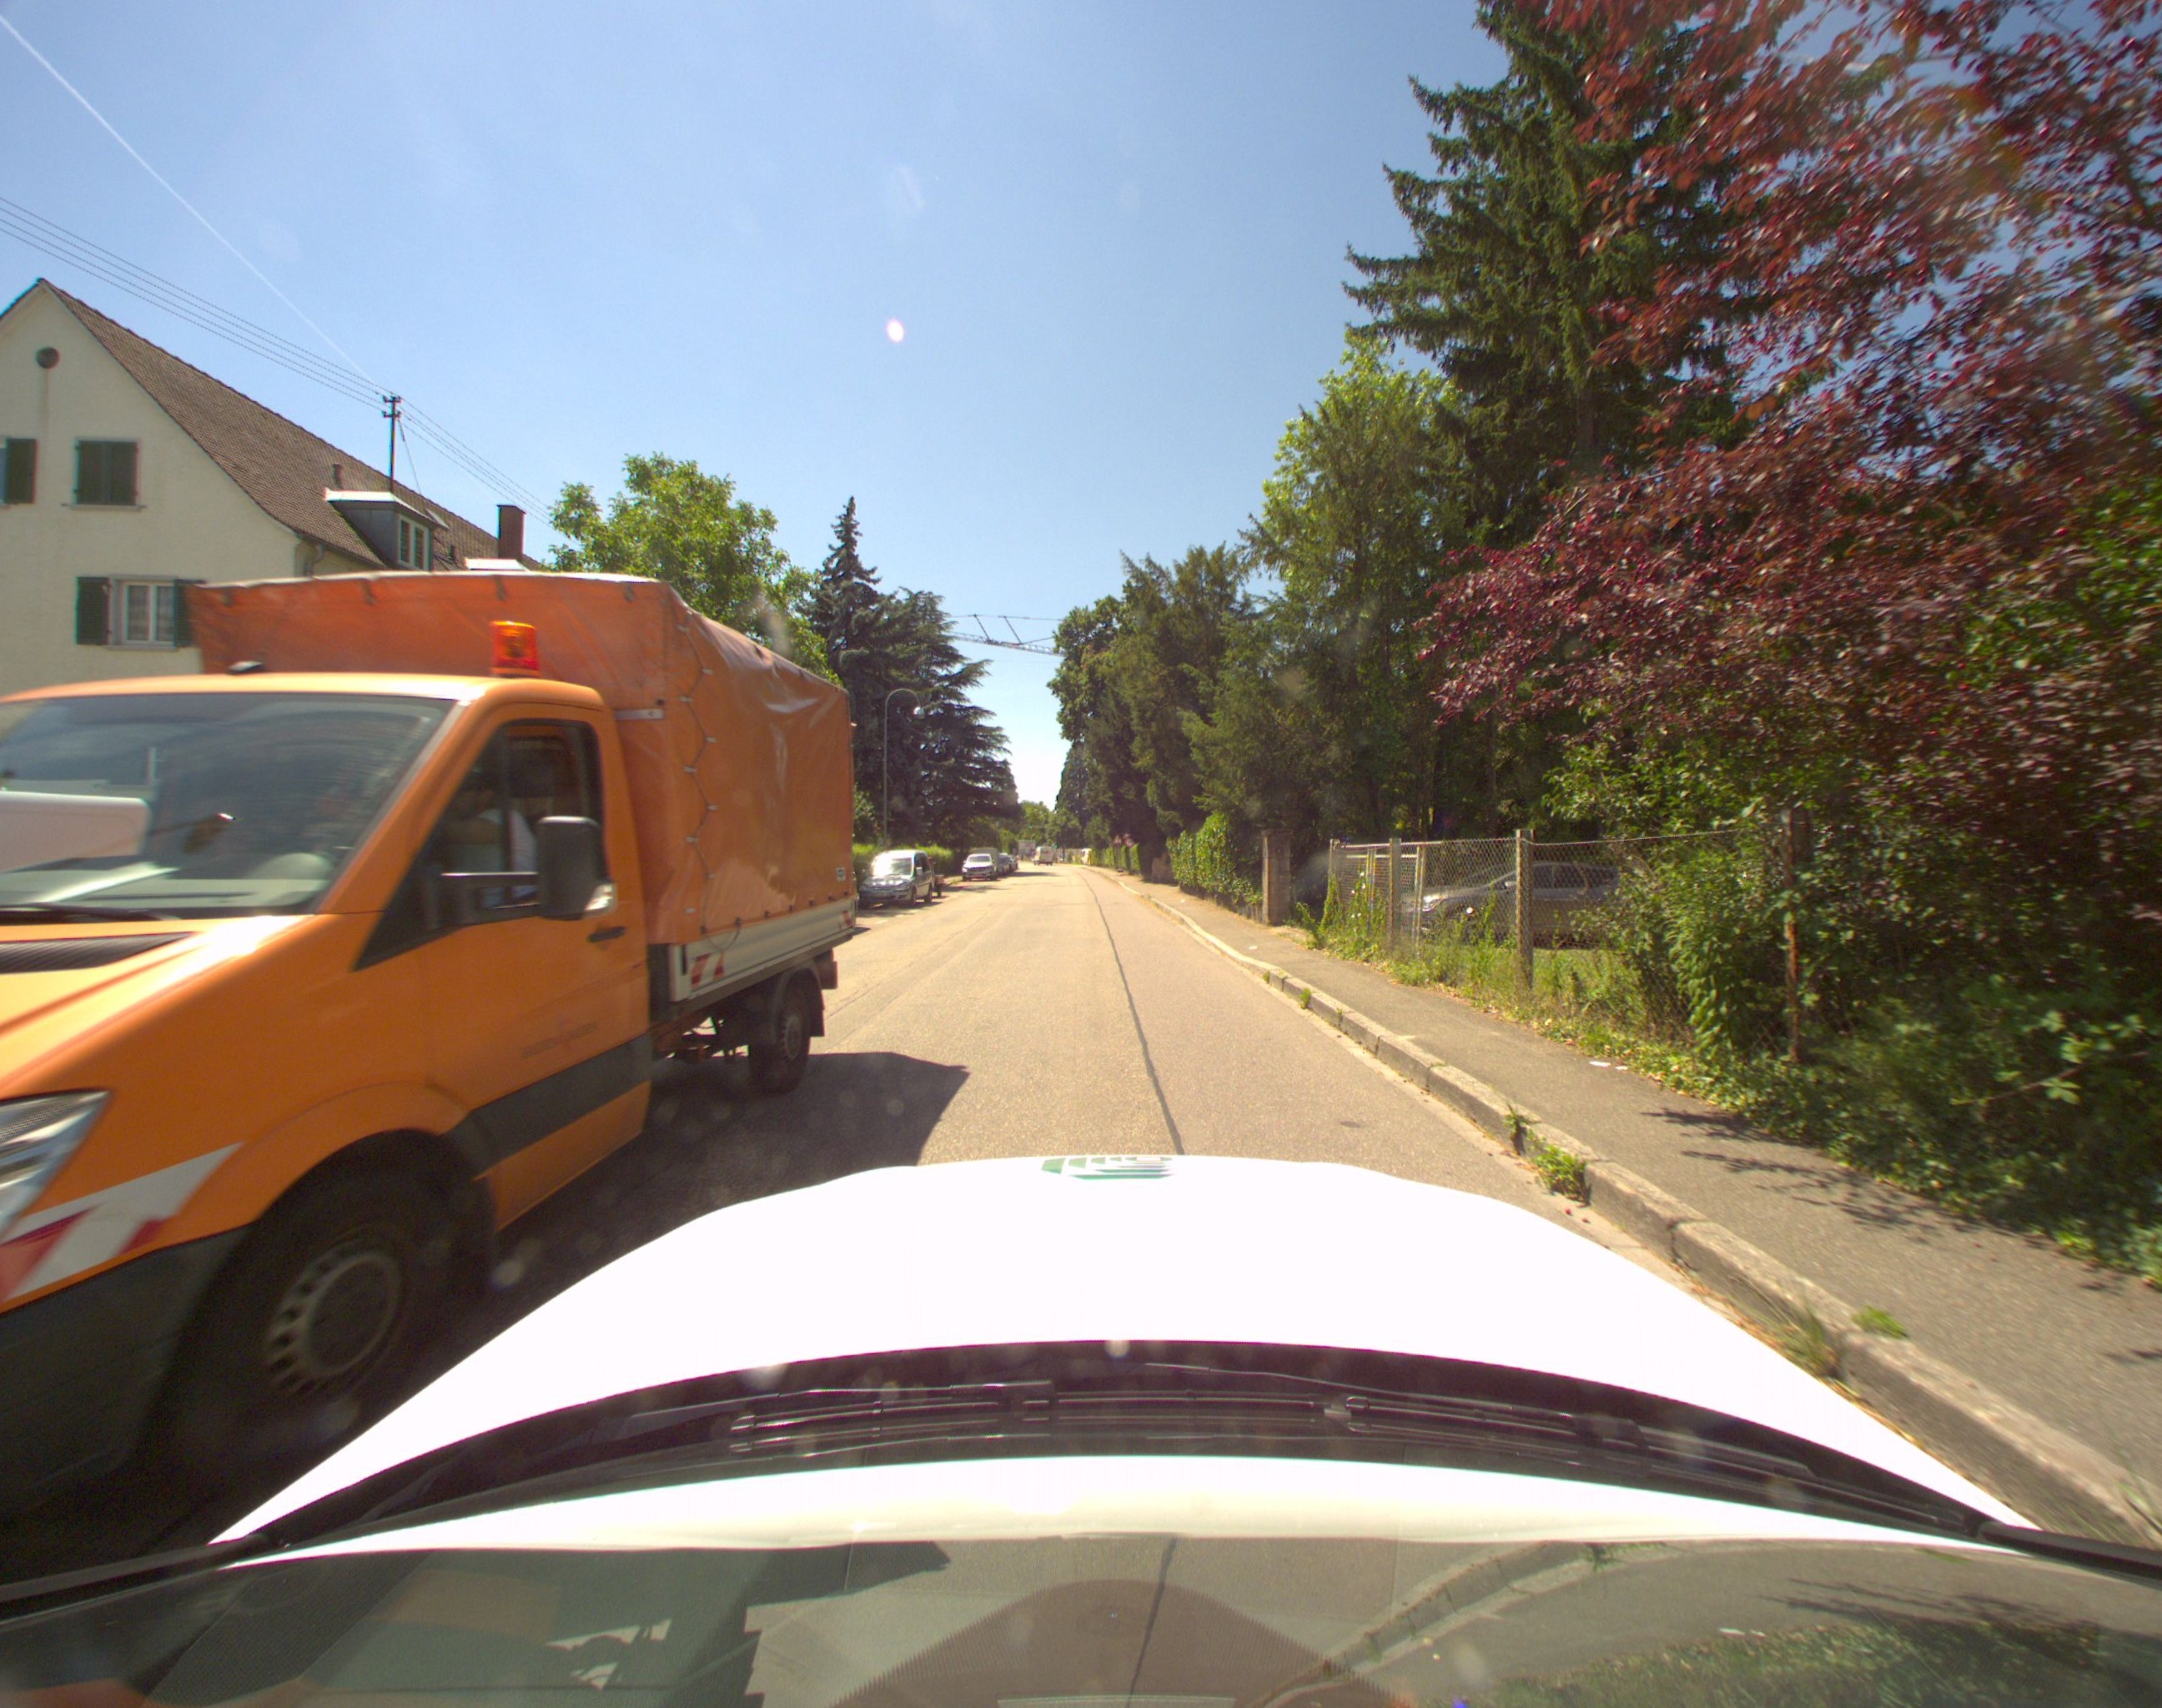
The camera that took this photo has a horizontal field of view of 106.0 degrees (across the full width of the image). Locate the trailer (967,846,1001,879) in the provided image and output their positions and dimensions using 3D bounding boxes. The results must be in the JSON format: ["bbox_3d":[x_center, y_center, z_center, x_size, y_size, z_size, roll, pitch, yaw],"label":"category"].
[{"bbox_3d":[-6.432,0.561,54.408,1.843,2.040,4.159,-2,0,-3],"label":"trailer"}]

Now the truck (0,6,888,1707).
[{"bbox_3d":[-2.891,0.041,4.097,2.365,2.830,5.659,-1,0,1],"label":"truck"}]

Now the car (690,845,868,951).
[{"bbox_3d":[-5.613,0.729,15.785,1.752,1.727,4.457,-1,0,0],"label":"car"}]

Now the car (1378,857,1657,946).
[{"bbox_3d":[7.322,0.758,13.967,3.846,1.380,1.767,1,0,2],"label":"car"}]

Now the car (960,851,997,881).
[{"bbox_3d":[-6.228,0.730,49.970,1.846,1.671,4.707,-2,0,-3],"label":"car"}]

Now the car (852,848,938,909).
[{"bbox_3d":[-5.802,0.709,25.913,1.642,1.752,4.354,-1,0,0],"label":"car"}]

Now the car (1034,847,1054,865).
[{"bbox_3d":[-5.197,0.284,113.020,2.144,2.315,4.835,-1,0,-10],"label":"car"}]

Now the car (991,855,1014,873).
[{"bbox_3d":[-6.866,0.866,71.636,1.683,1.444,4.134,-1,0,-1],"label":"car"}]

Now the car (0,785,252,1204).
[{"bbox_3d":[-5.831,0.628,2.262,1.879,1.881,4.981,-1,-1,1],"label":"car"}]

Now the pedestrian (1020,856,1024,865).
[{"bbox_3d":[-11.194,1.179,155.340,0.589,1.751,0.657,2,-1,1],"label":"pedestrian"}]

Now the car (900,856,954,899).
[{"bbox_3d":[-5.797,0.844,30.851,1.407,1.503,2.840,-2,0,0],"label":"car"}]

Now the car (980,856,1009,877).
[{"bbox_3d":[-6.383,0.877,60.311,1.704,1.439,4.320,-2,0,-1],"label":"car"}]
